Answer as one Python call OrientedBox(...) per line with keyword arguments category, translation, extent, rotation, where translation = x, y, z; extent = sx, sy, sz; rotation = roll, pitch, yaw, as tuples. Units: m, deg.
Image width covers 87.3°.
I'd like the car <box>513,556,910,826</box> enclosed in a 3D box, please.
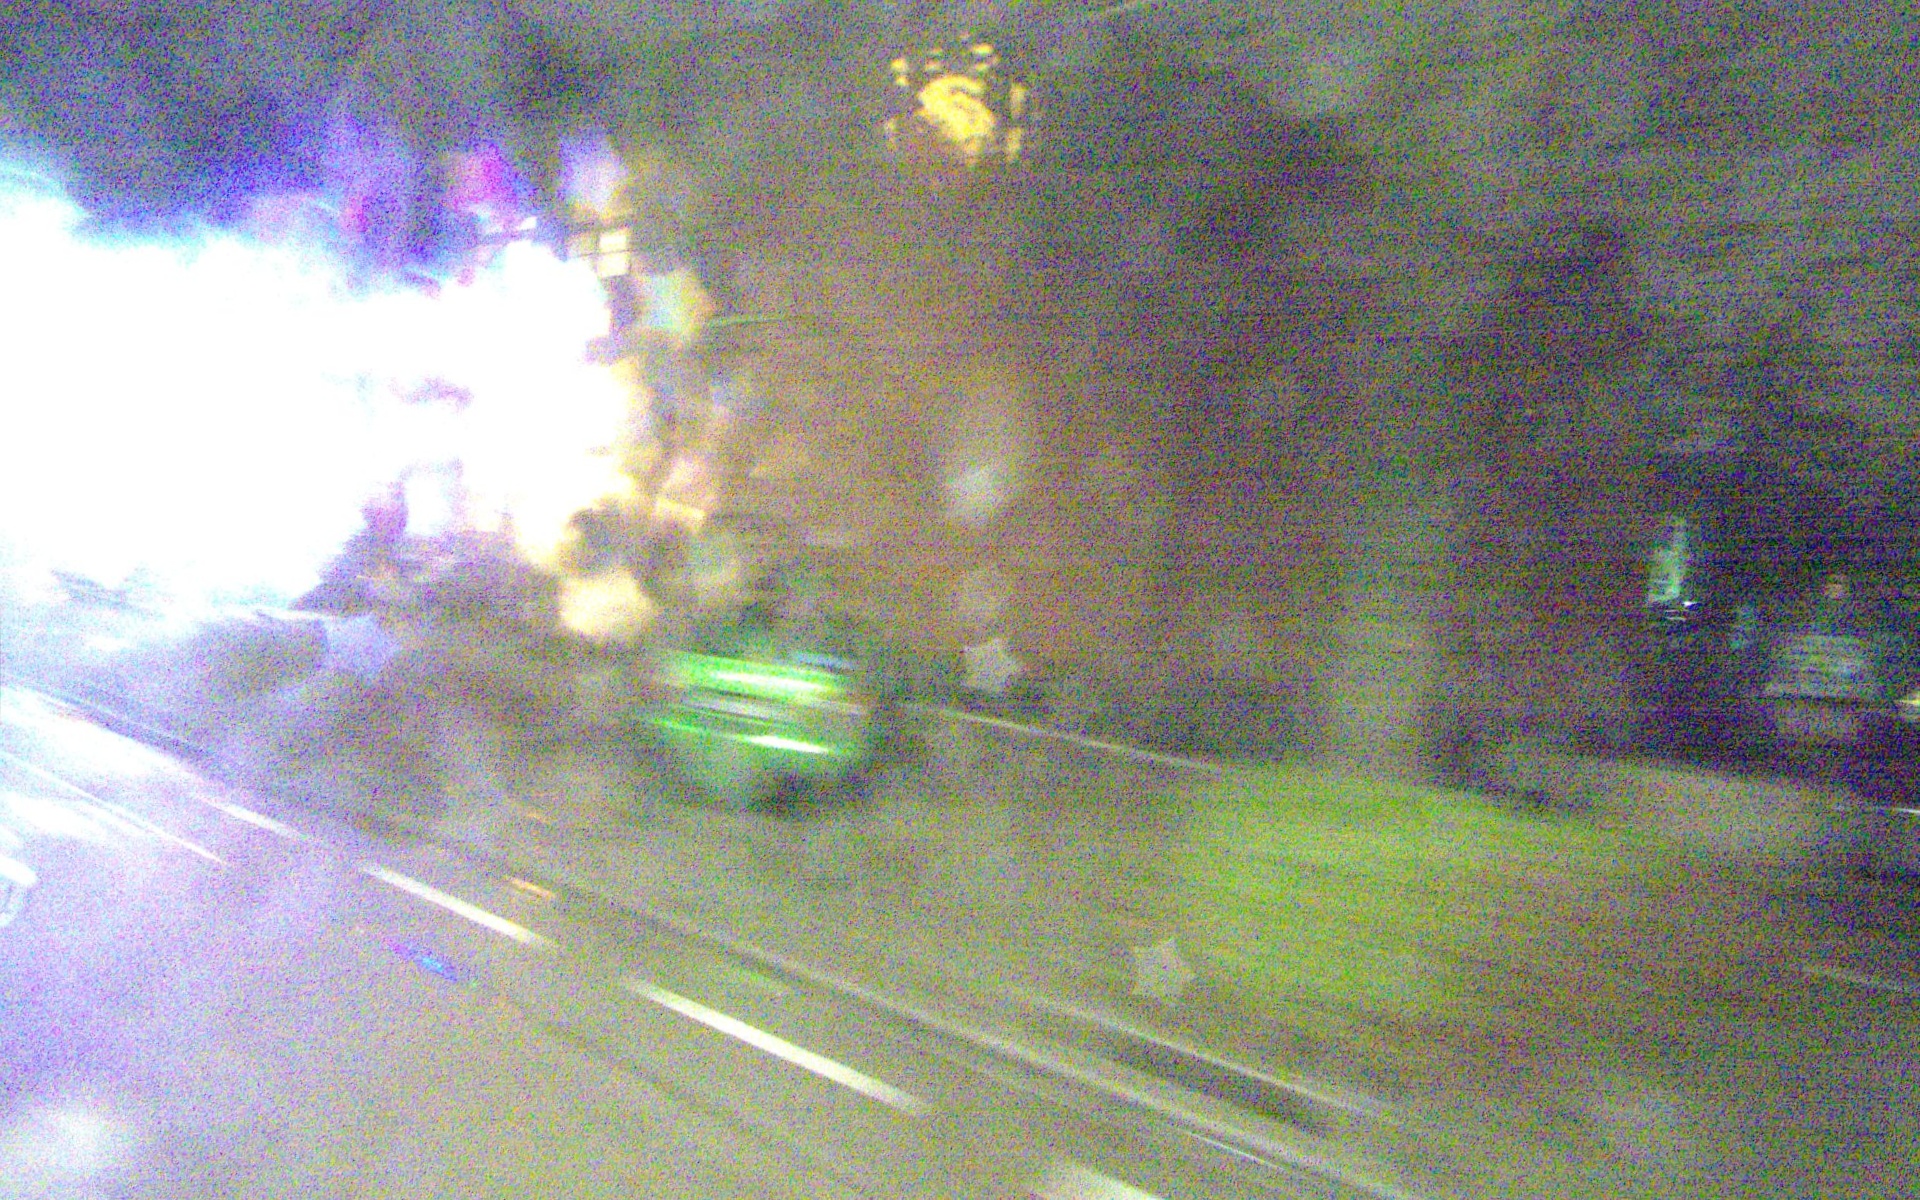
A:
OrientedBox(category="car", translation=(-1.786, 0.680, 8.774), extent=(1.923, 1.555, 4.110), rotation=(7, -1, 6))
